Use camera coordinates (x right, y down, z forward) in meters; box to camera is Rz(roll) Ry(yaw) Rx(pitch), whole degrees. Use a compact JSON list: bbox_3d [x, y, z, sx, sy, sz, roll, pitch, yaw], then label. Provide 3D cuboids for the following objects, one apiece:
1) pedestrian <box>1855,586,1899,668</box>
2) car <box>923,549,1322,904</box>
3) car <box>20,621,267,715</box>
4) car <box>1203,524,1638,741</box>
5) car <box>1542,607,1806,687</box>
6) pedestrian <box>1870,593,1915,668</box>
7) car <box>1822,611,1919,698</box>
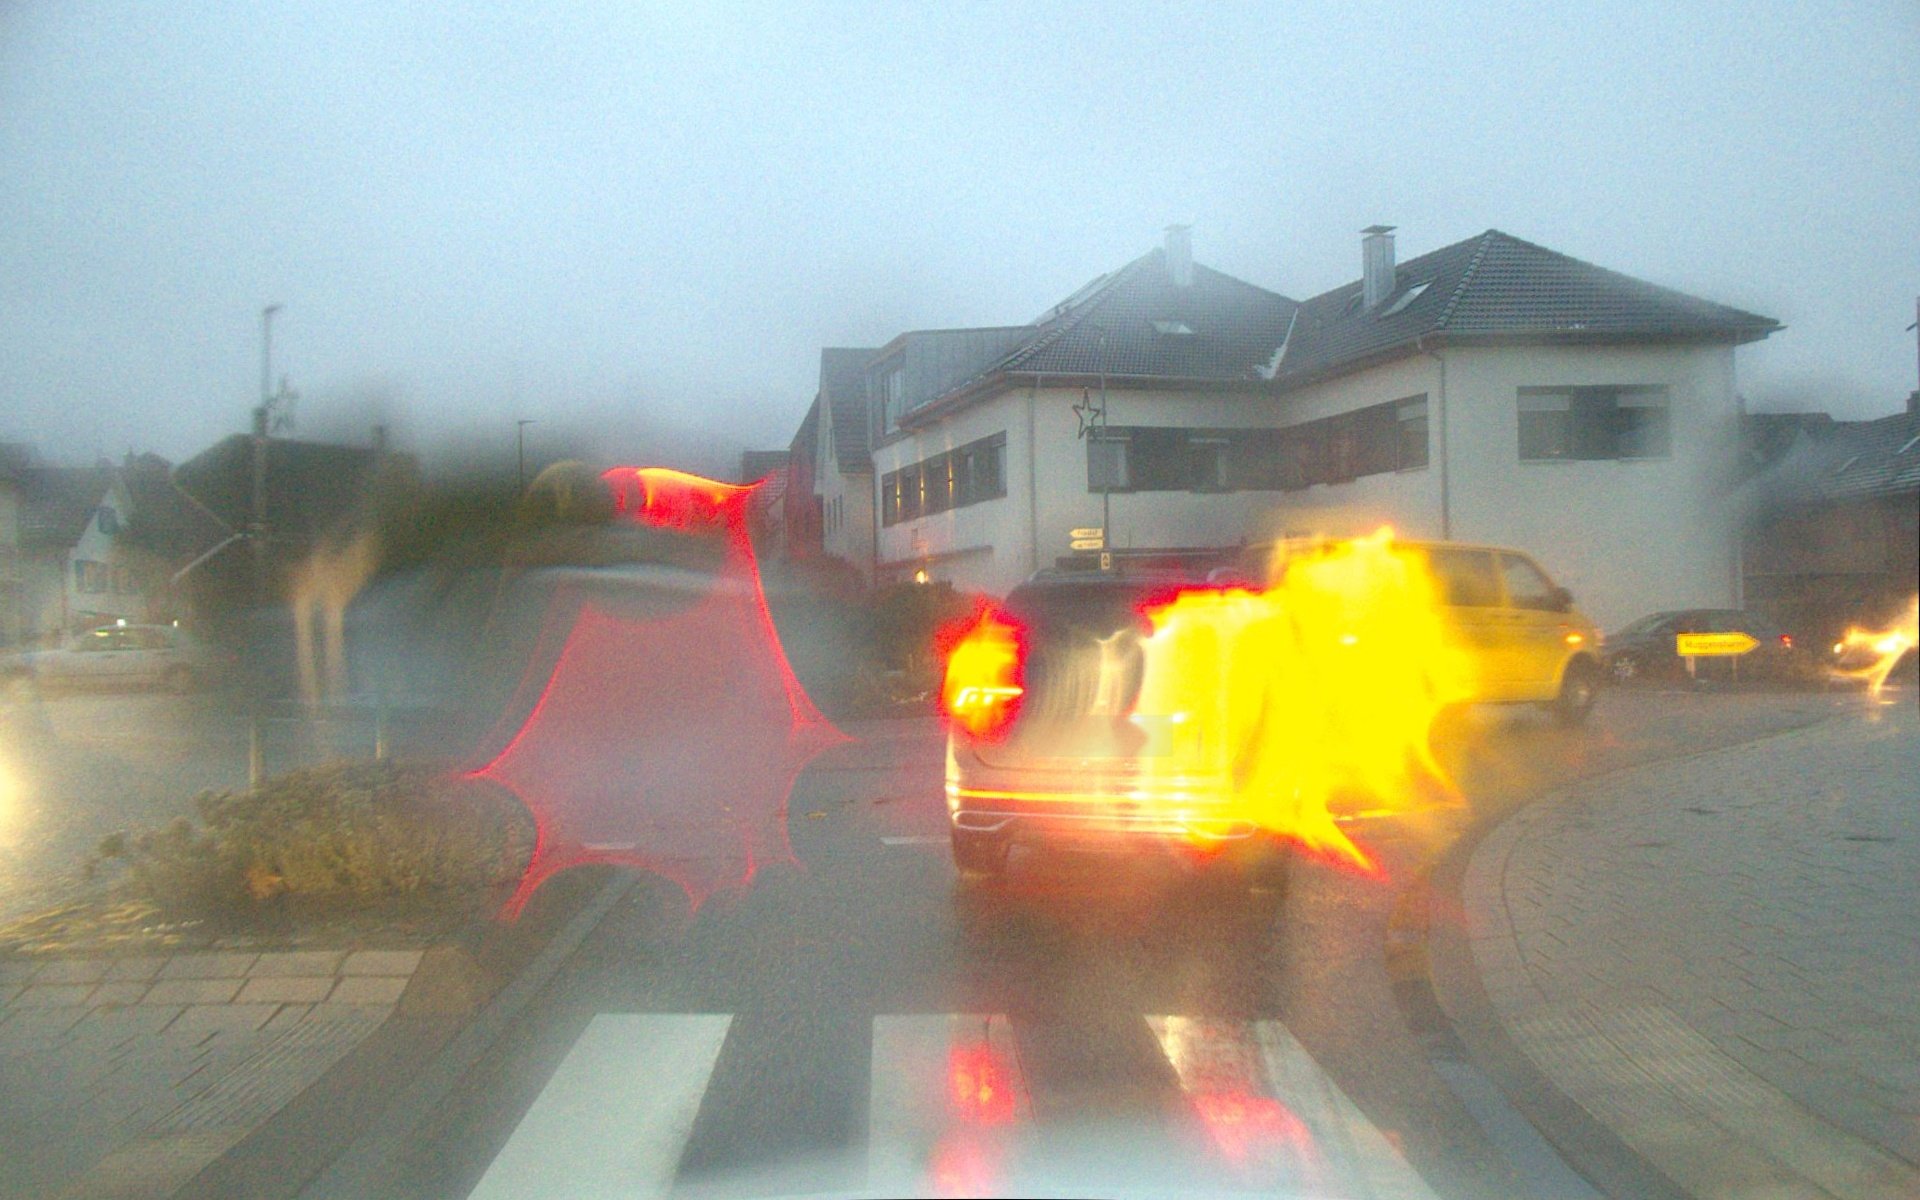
[{"bbox_3d":[21.077,0.613,38.025,0.700,1.864,0.638,-1,1,7],"label":"pedestrian"},{"bbox_3d":[1.136,0.597,9.780,1.875,1.643,3.953,-1,0,11],"label":"car"},{"bbox_3d":[-15.778,1.287,32.143,3.984,1.691,1.698,-1,-1,-12],"label":"car"},{"bbox_3d":[5.062,0.306,17.886,4.846,2.049,1.974,0,-1,-36],"label":"car"},{"bbox_3d":[13.298,0.900,30.947,4.139,1.408,1.848,0,-3,-5],"label":"car"},{"bbox_3d":[20.996,0.680,37.261,0.700,1.649,0.583,-1,0,7],"label":"pedestrian"},{"bbox_3d":[18.575,1.010,31.061,3.907,1.579,1.696,0,-2,-3],"label":"car"}]
